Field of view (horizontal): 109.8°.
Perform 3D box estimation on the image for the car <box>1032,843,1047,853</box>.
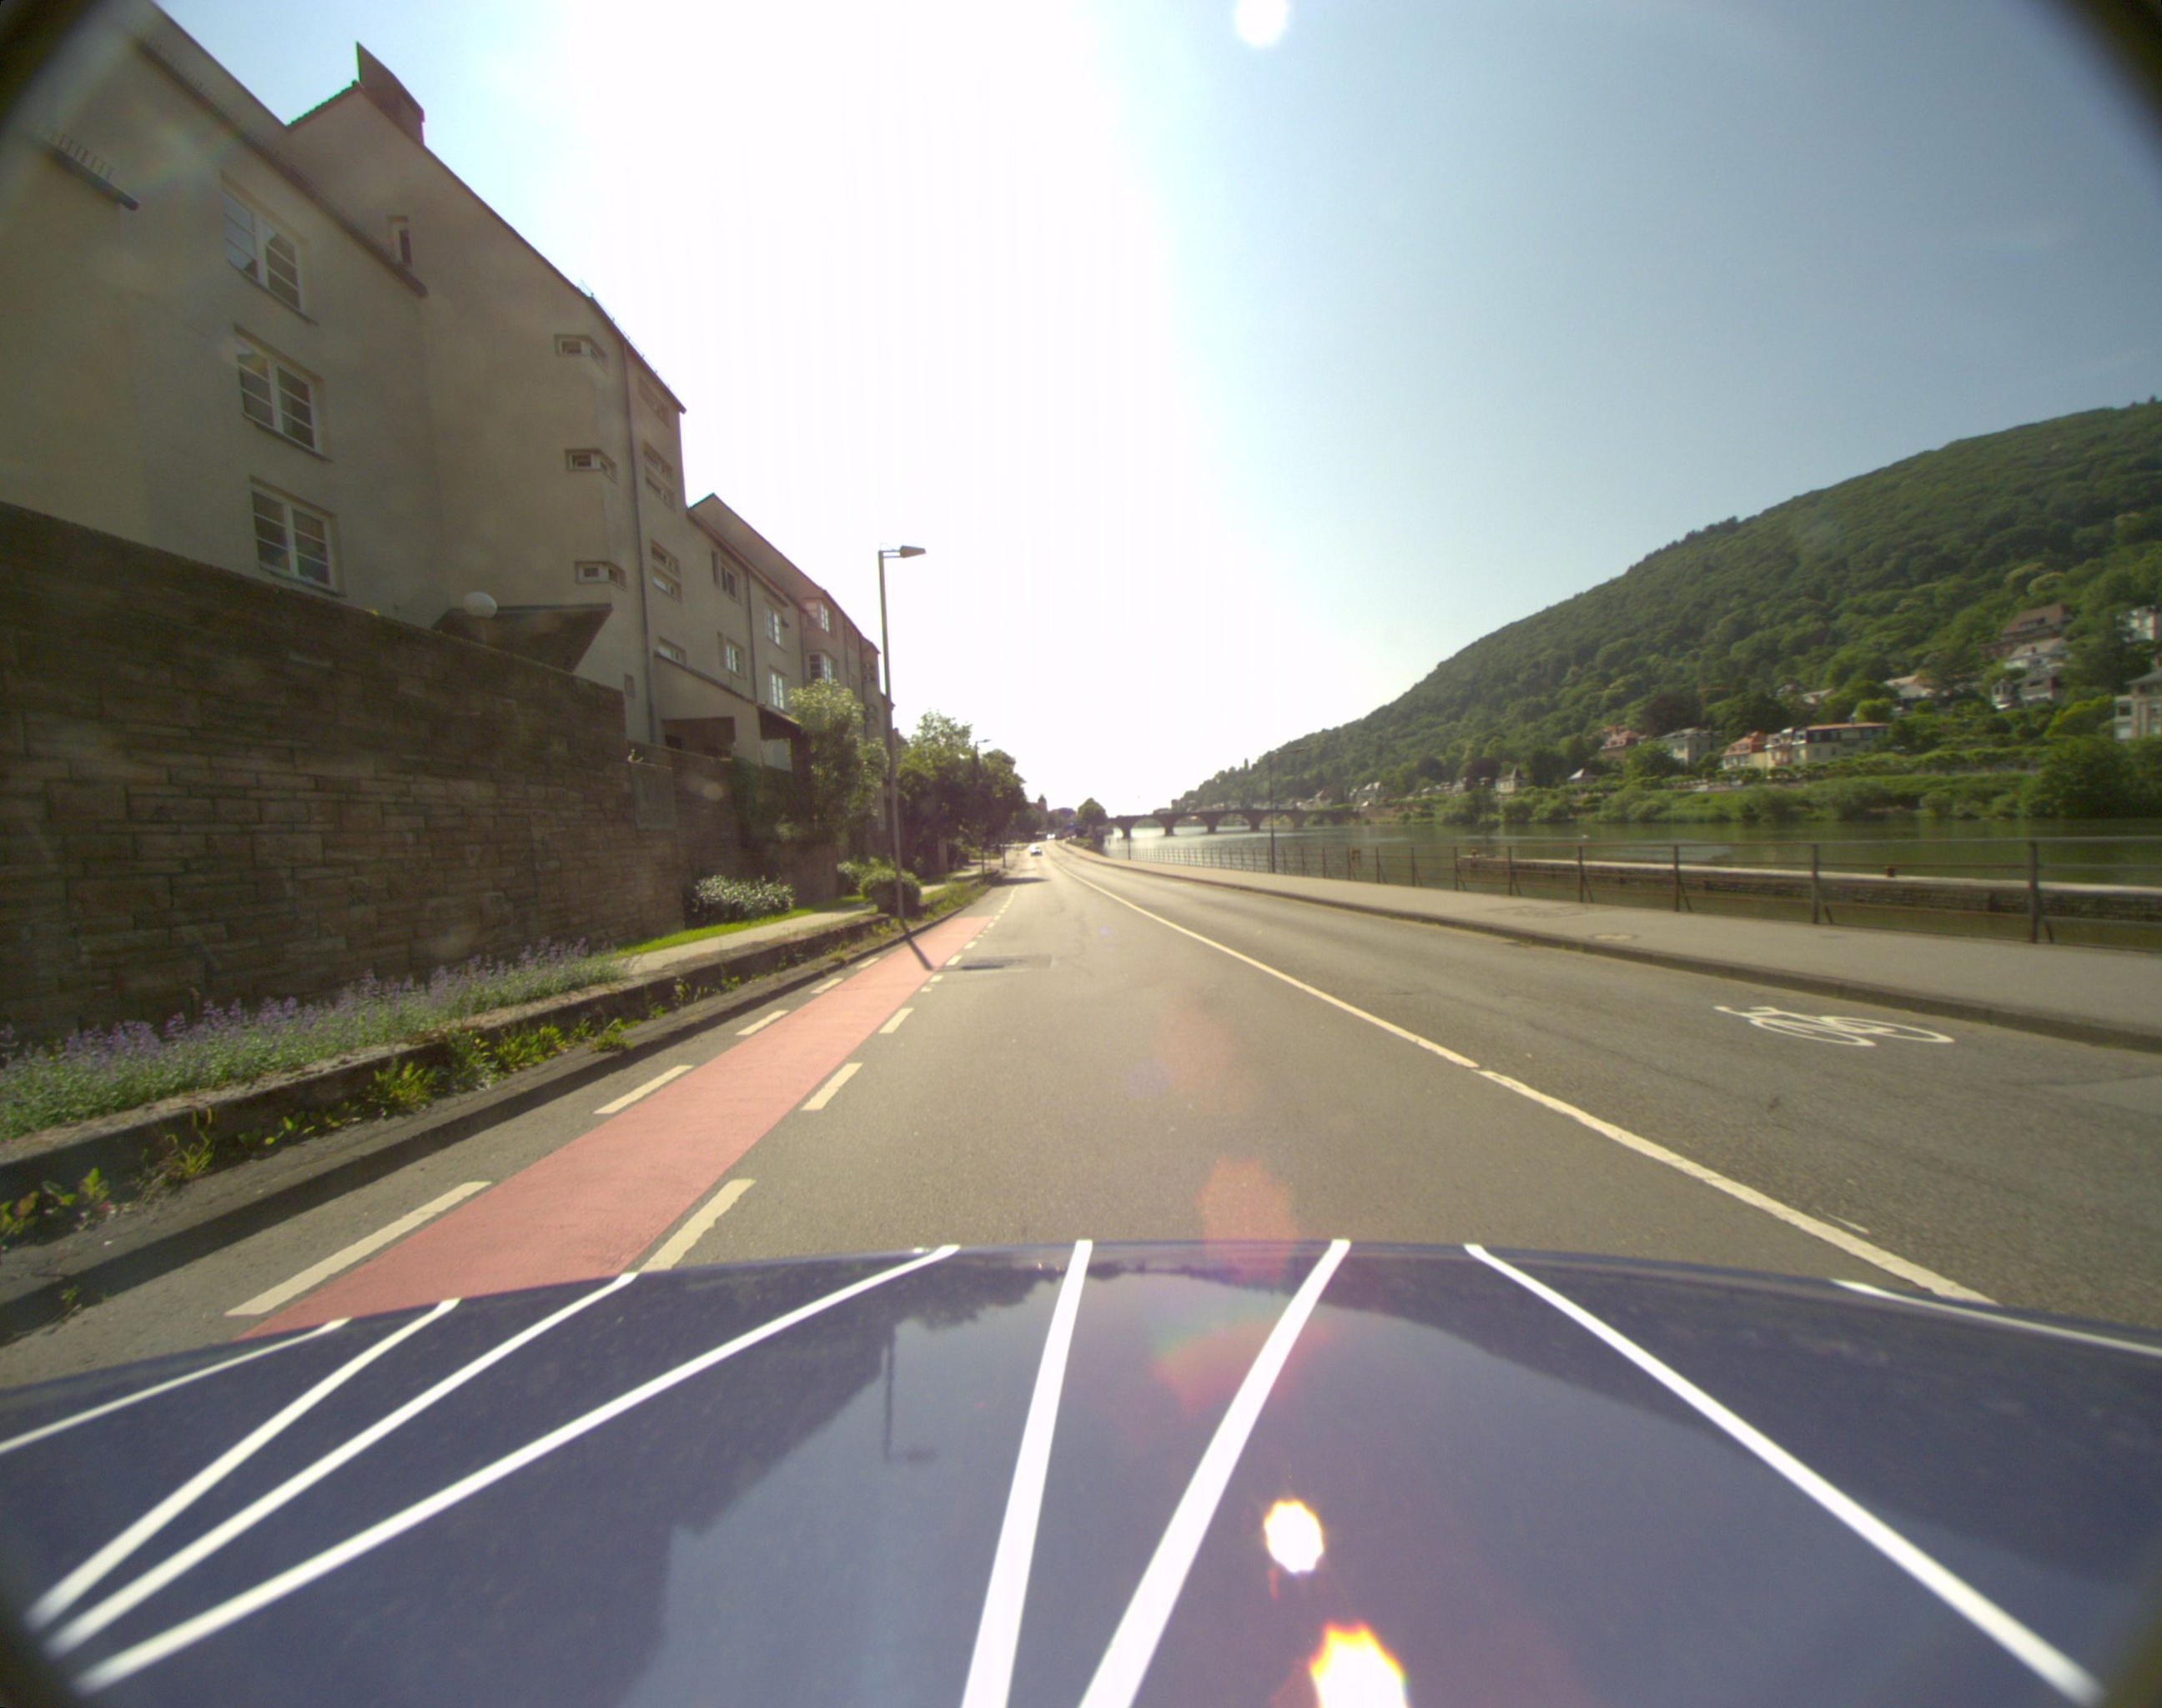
[{"bbox_3d":[-6.263,-0.974,115.033,1.999,1.434,3.998,-2,1,-1],"label":"car"}]
